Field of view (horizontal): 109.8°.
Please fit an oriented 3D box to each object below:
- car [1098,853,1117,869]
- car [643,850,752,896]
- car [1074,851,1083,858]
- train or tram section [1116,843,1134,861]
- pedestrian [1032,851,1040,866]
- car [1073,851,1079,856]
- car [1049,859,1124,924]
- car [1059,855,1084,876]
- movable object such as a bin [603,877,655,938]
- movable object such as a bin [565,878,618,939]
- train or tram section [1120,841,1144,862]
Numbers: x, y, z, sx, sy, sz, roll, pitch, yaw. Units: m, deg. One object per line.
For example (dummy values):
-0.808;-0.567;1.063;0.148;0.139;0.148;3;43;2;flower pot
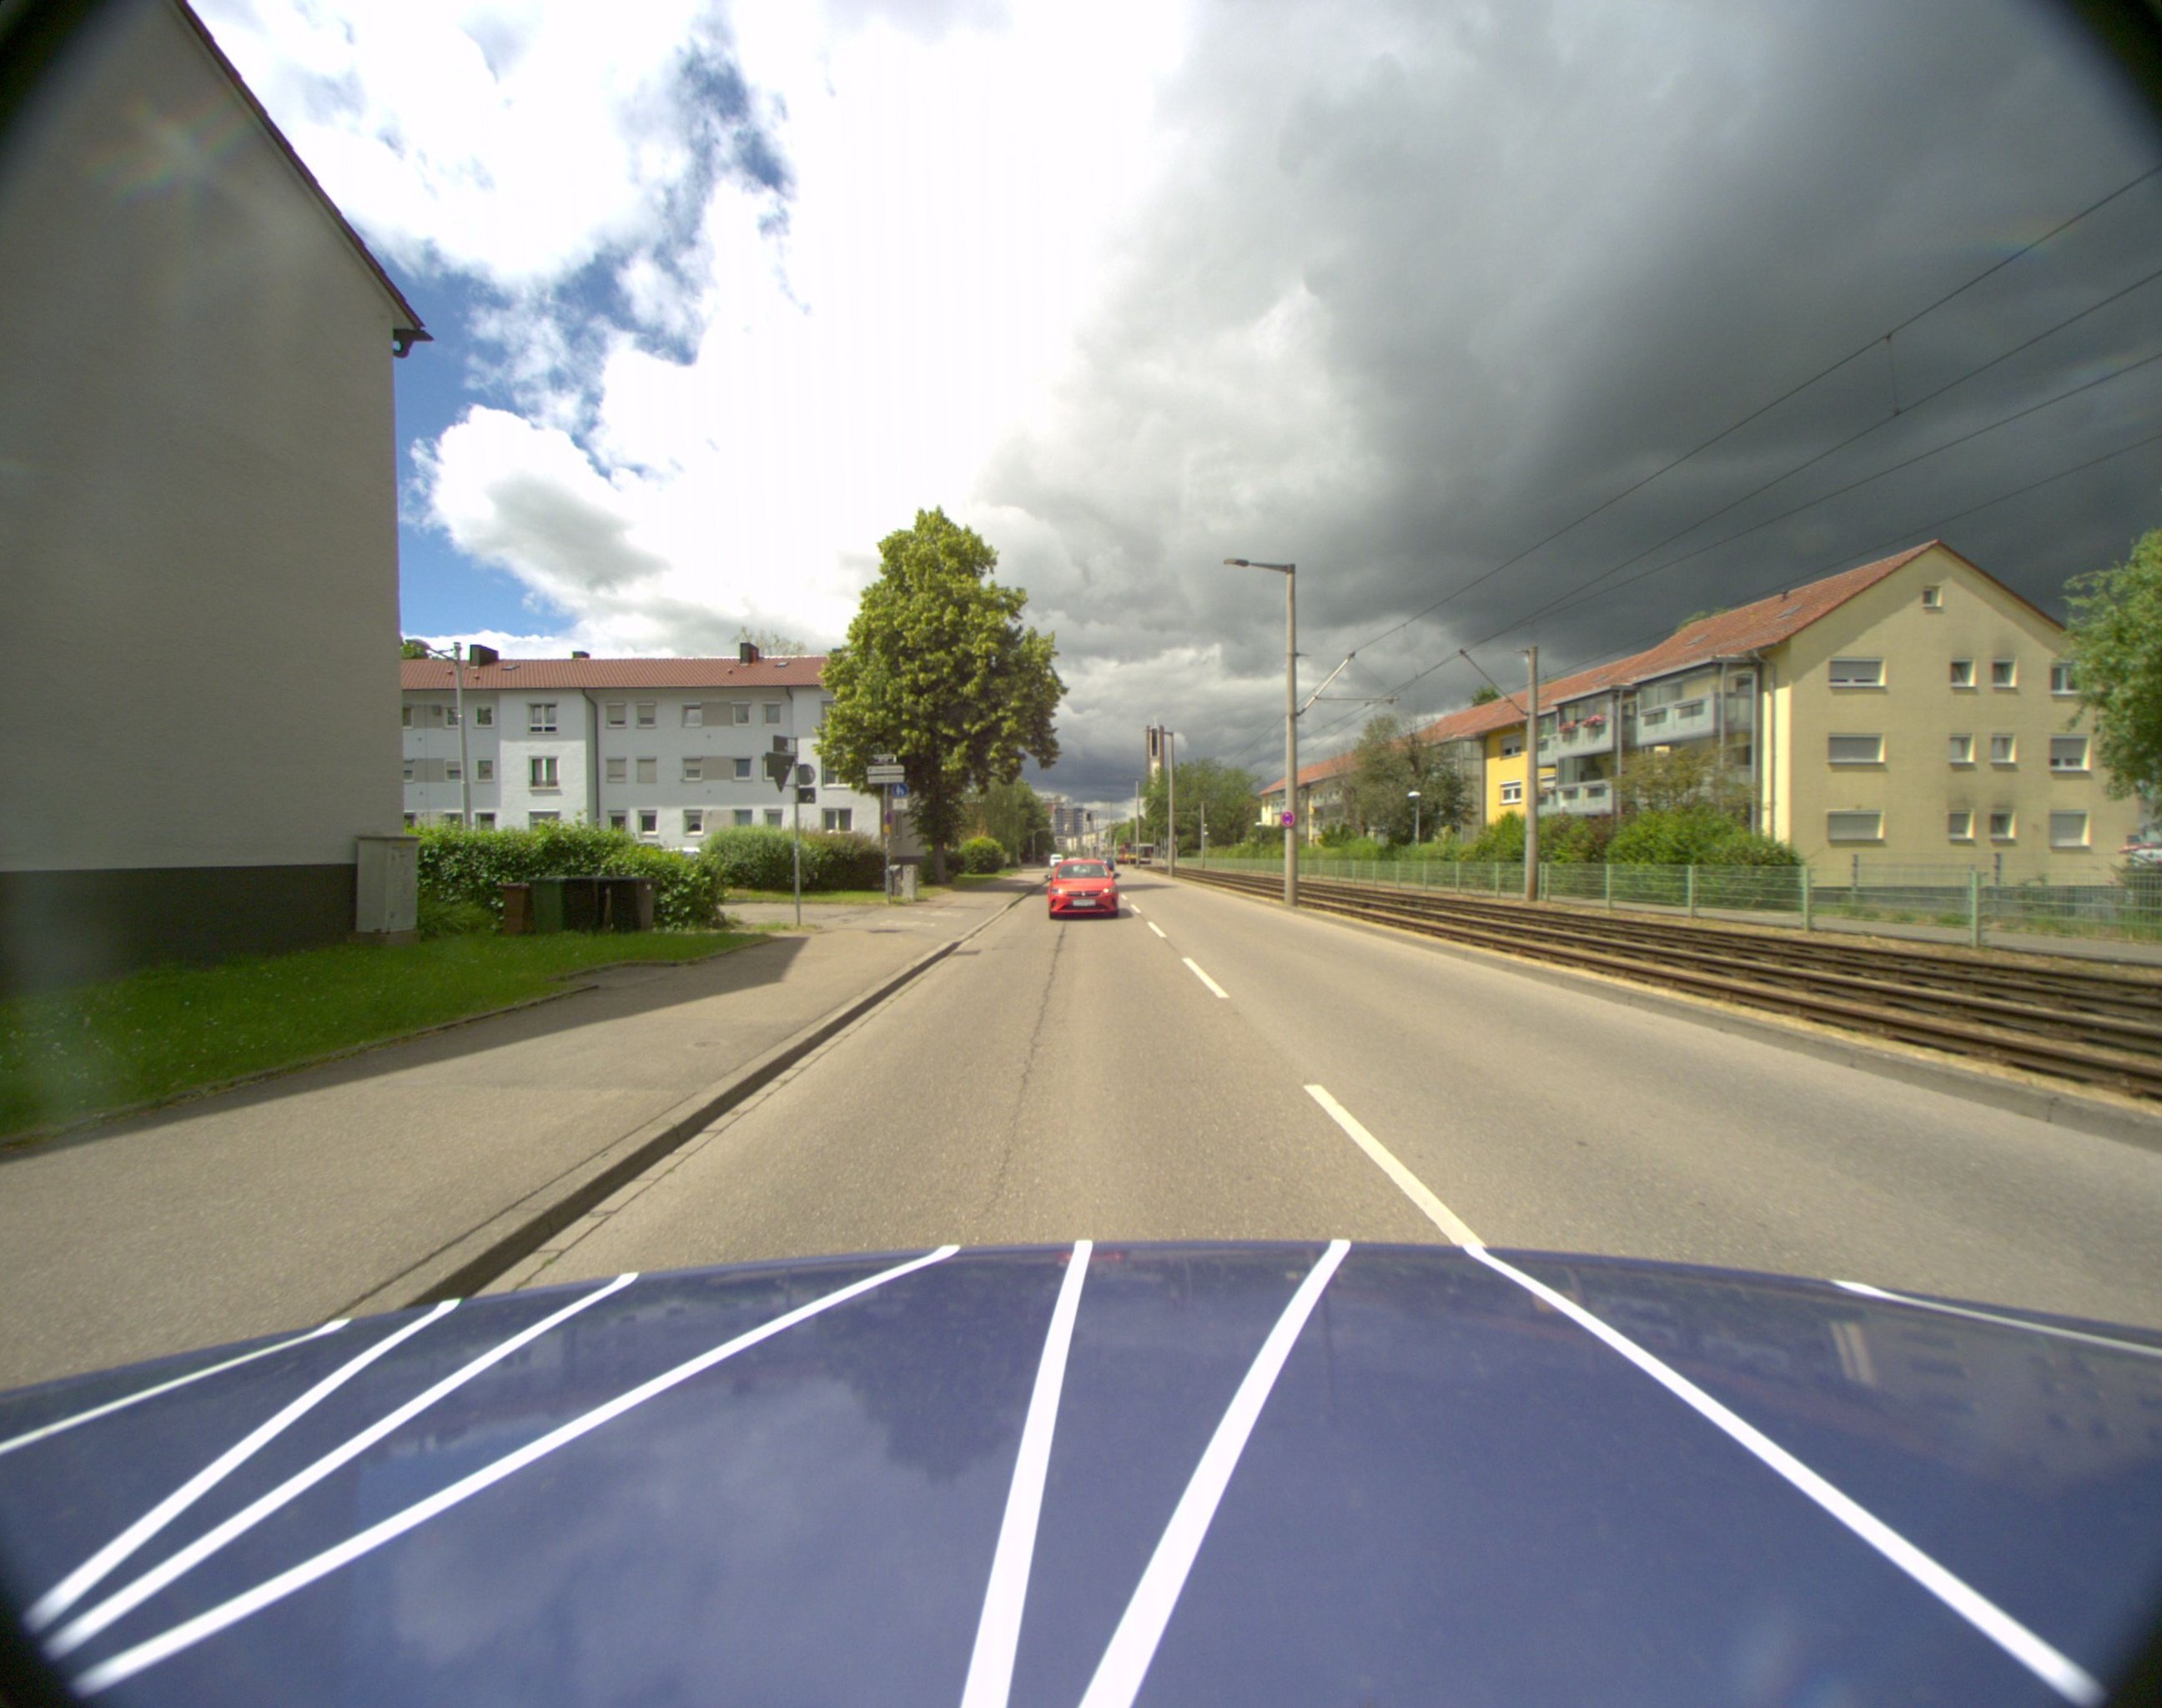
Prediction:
2.540;0.634;73.256;1.628;1.516;3.581;-1;0;0;car
-12.799;0.584;25.619;1.680;1.407;3.742;-2;0;0;car
-0.617;0.042;172.223;1.765;1.543;3.998;-1;0;-3;car
9.552;-0.438;165.417;2.988;3.840;11.784;-2;0;-1;train or tram section
-5.764;0.571;96.699;0.811;1.761;0.817;2;1;5;pedestrian
-1.593;-0.195;241.759;1.722;1.433;4.008;-1;0;-2;car
0.145;0.901;20.020;1.756;1.433;4.226;-1;0;0;car
-0.677;0.838;55.797;1.756;1.433;4.226;-1;0;0;car
-7.324;0.859;12.330;0.497;0.949;0.580;1;1;0;movable object such as a bin
-7.894;0.873;12.269;0.501;0.942;0.551;1;1;0;movable object such as a bin
9.838;-0.484;149.797;2.988;3.840;18.534;-2;0;-1;train or tram section
